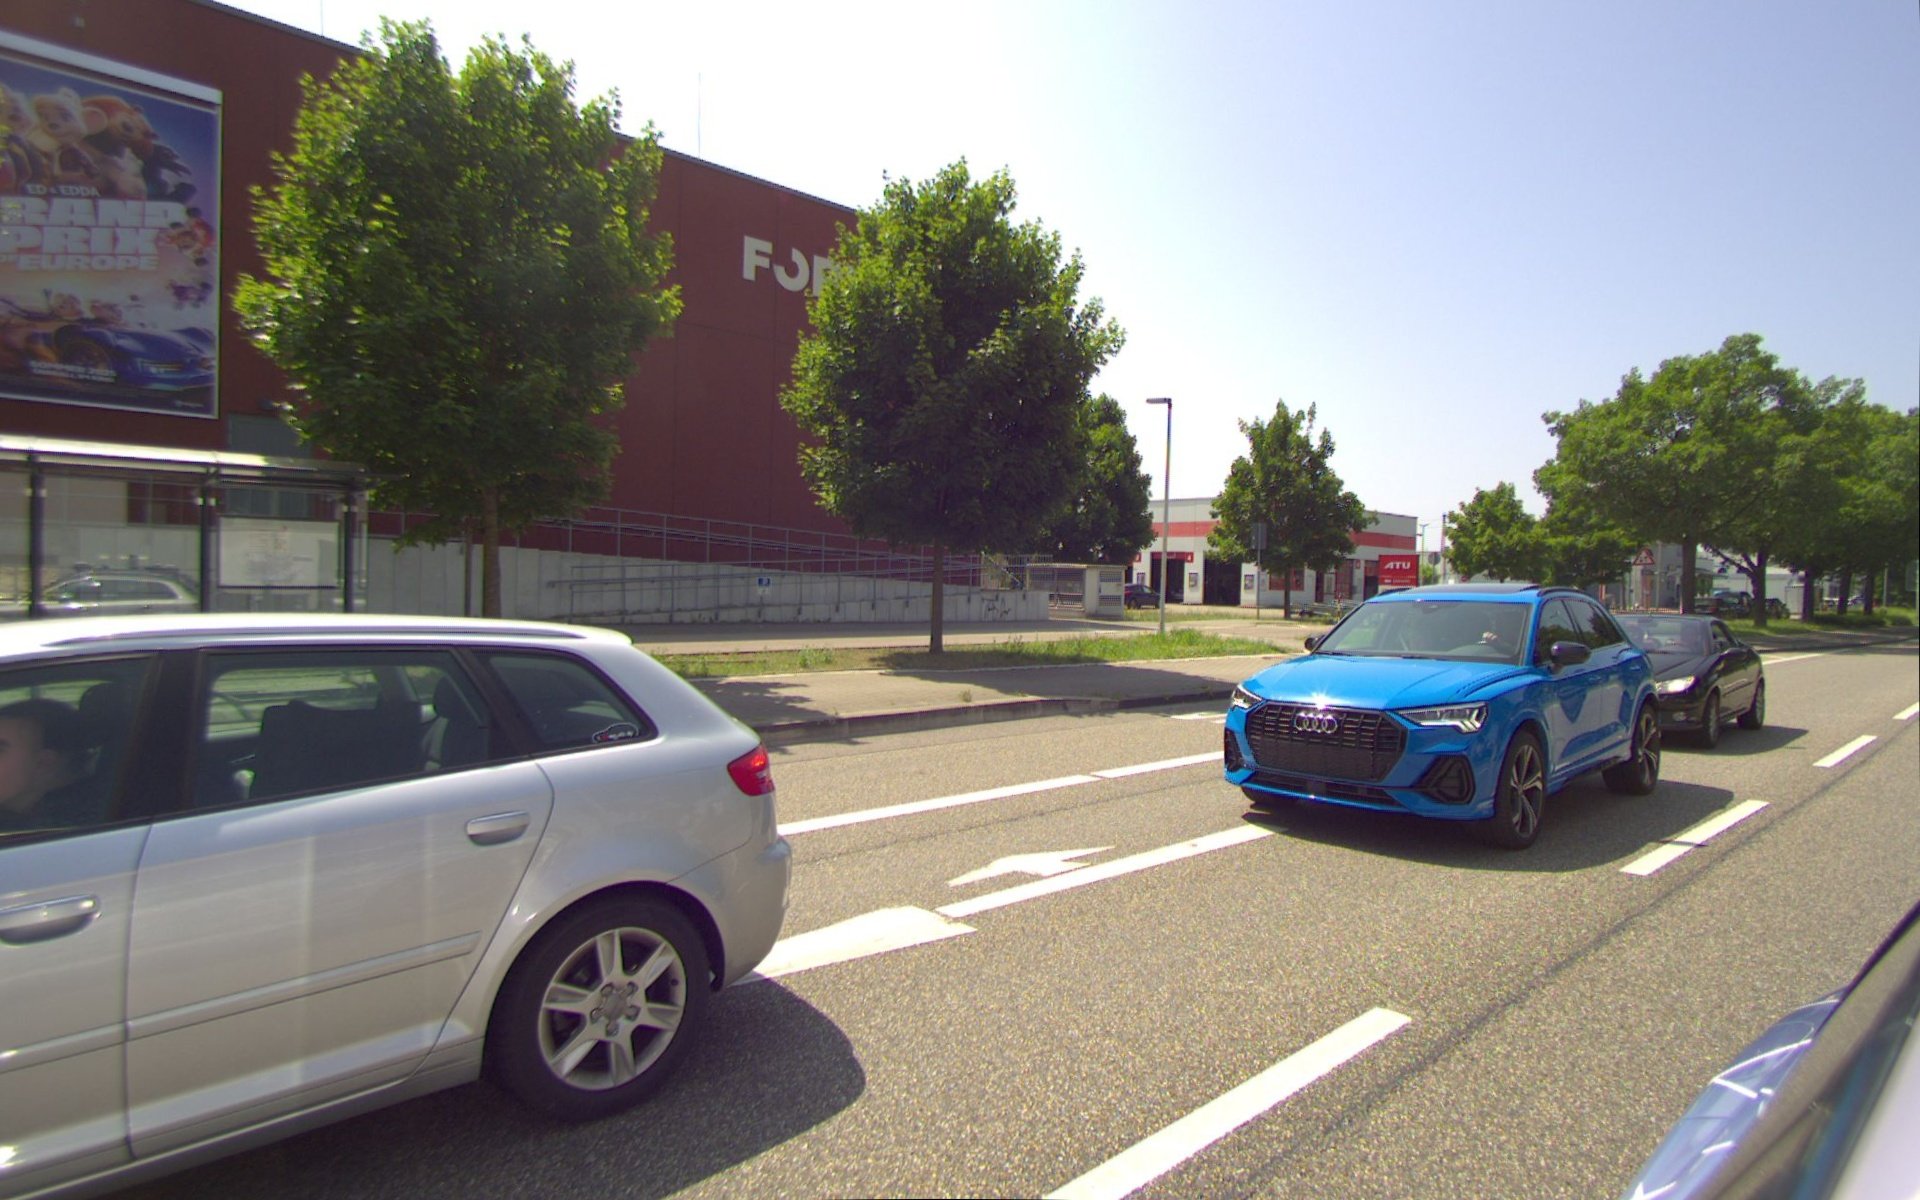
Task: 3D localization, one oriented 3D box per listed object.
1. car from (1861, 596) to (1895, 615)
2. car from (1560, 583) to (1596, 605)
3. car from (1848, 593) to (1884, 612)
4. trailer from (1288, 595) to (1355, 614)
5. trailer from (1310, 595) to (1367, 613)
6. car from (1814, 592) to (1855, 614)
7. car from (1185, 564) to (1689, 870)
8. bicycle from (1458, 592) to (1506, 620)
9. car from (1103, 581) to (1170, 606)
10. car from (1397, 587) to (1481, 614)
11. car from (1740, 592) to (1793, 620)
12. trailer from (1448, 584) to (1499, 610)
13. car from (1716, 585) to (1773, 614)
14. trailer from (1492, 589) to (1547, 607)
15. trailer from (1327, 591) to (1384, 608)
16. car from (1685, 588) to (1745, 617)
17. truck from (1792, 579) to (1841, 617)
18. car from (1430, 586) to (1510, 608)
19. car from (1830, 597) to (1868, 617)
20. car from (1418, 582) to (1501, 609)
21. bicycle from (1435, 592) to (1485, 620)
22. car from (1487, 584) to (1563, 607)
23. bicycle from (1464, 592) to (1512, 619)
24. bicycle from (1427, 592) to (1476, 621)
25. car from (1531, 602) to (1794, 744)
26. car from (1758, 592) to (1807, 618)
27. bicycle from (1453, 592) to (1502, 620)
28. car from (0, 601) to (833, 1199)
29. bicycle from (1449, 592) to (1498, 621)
[{"bbox_3d":[79.966,0.475,88.134,3.930,1.485,1.719,0,2,-41],"label":"car"},{"bbox_3d":[48.316,-0.470,79.110,1.753,1.616,3.940,2,2,42],"label":"car"},{"bbox_3d":[75.266,0.180,84.071,3.930,1.485,1.719,0,2,-41],"label":"car"},{"bbox_3d":[16.338,0.190,45.798,1.423,0.771,2.467,0,2,-39],"label":"trailer"},{"bbox_3d":[17.626,0.164,47.168,1.244,0.771,2.137,0,2,-39],"label":"trailer"},{"bbox_3d":[64.697,0.222,74.860,3.930,1.485,1.719,0,2,-41],"label":"car"},{"bbox_3d":[3.720,0.600,7.490,4.324,1.616,1.840,0,1,-42],"label":"car"},{"bbox_3d":[22.749,0.251,44.150,1.779,1.138,0.506,3,1,43],"label":"bicycle"},{"bbox_3d":[10.446,-0.357,59.655,4.074,1.390,1.716,0,2,-42],"label":"car"},{"bbox_3d":[27.335,0.003,57.797,1.718,1.419,3.992,0,2,-43],"label":"car"},{"bbox_3d":[47.288,0.323,59.328,3.930,1.539,1.719,0,2,-41],"label":"car"},{"bbox_3d":[33.080,-0.193,65.218,1.391,1.546,2.638,0,2,-43],"label":"trailer"},{"bbox_3d":[43.449,-0.041,56.006,3.930,1.485,1.719,0,2,-41],"label":"car"},{"bbox_3d":[34.937,-0.130,63.234,1.552,1.065,2.638,0,2,-43],"label":"trailer"},{"bbox_3d":[18.891,-0.032,48.314,1.369,0.771,2.137,0,2,-39],"label":"trailer"},{"bbox_3d":[38.826,0.103,51.993,3.930,1.388,1.641,0,2,-41],"label":"car"},{"bbox_3d":[60.283,-0.148,71.210,3.929,2.599,1.904,0,1,-40],"label":"truck"},{"bbox_3d":[30.647,-0.187,60.879,1.718,1.223,3.991,0,2,-44],"label":"car"},{"bbox_3d":[69.661,0.549,79.271,3.930,1.485,1.719,0,2,-41],"label":"car"},{"bbox_3d":[29.127,-0.296,59.080,1.718,1.419,3.991,0,2,-44],"label":"car"},{"bbox_3d":[21.151,0.238,42.837,1.779,1.138,0.506,3,1,43],"label":"bicycle"},{"bbox_3d":[36.393,-0.287,65.274,1.662,1.317,3.991,0,2,-44],"label":"car"},{"bbox_3d":[23.335,0.241,44.721,1.779,1.138,0.506,3,1,43],"label":"bicycle"},{"bbox_3d":[20.636,0.252,42.491,1.779,1.138,0.506,3,1,43],"label":"bicycle"},{"bbox_3d":[8.180,0.712,11.661,3.931,1.361,1.640,0,-1,-42],"label":"car"},{"bbox_3d":[51.664,0.292,63.545,3.930,1.532,1.719,0,2,-41],"label":"car"},{"bbox_3d":[22.281,0.232,43.610,1.779,1.138,0.506,3,1,43],"label":"bicycle"},{"bbox_3d":[-2.468,0.698,2.617,4.022,1.379,1.714,0,0,-43],"label":"car"},{"bbox_3d":[21.873,0.273,43.120,1.779,1.138,0.506,3,1,43],"label":"bicycle"}]
